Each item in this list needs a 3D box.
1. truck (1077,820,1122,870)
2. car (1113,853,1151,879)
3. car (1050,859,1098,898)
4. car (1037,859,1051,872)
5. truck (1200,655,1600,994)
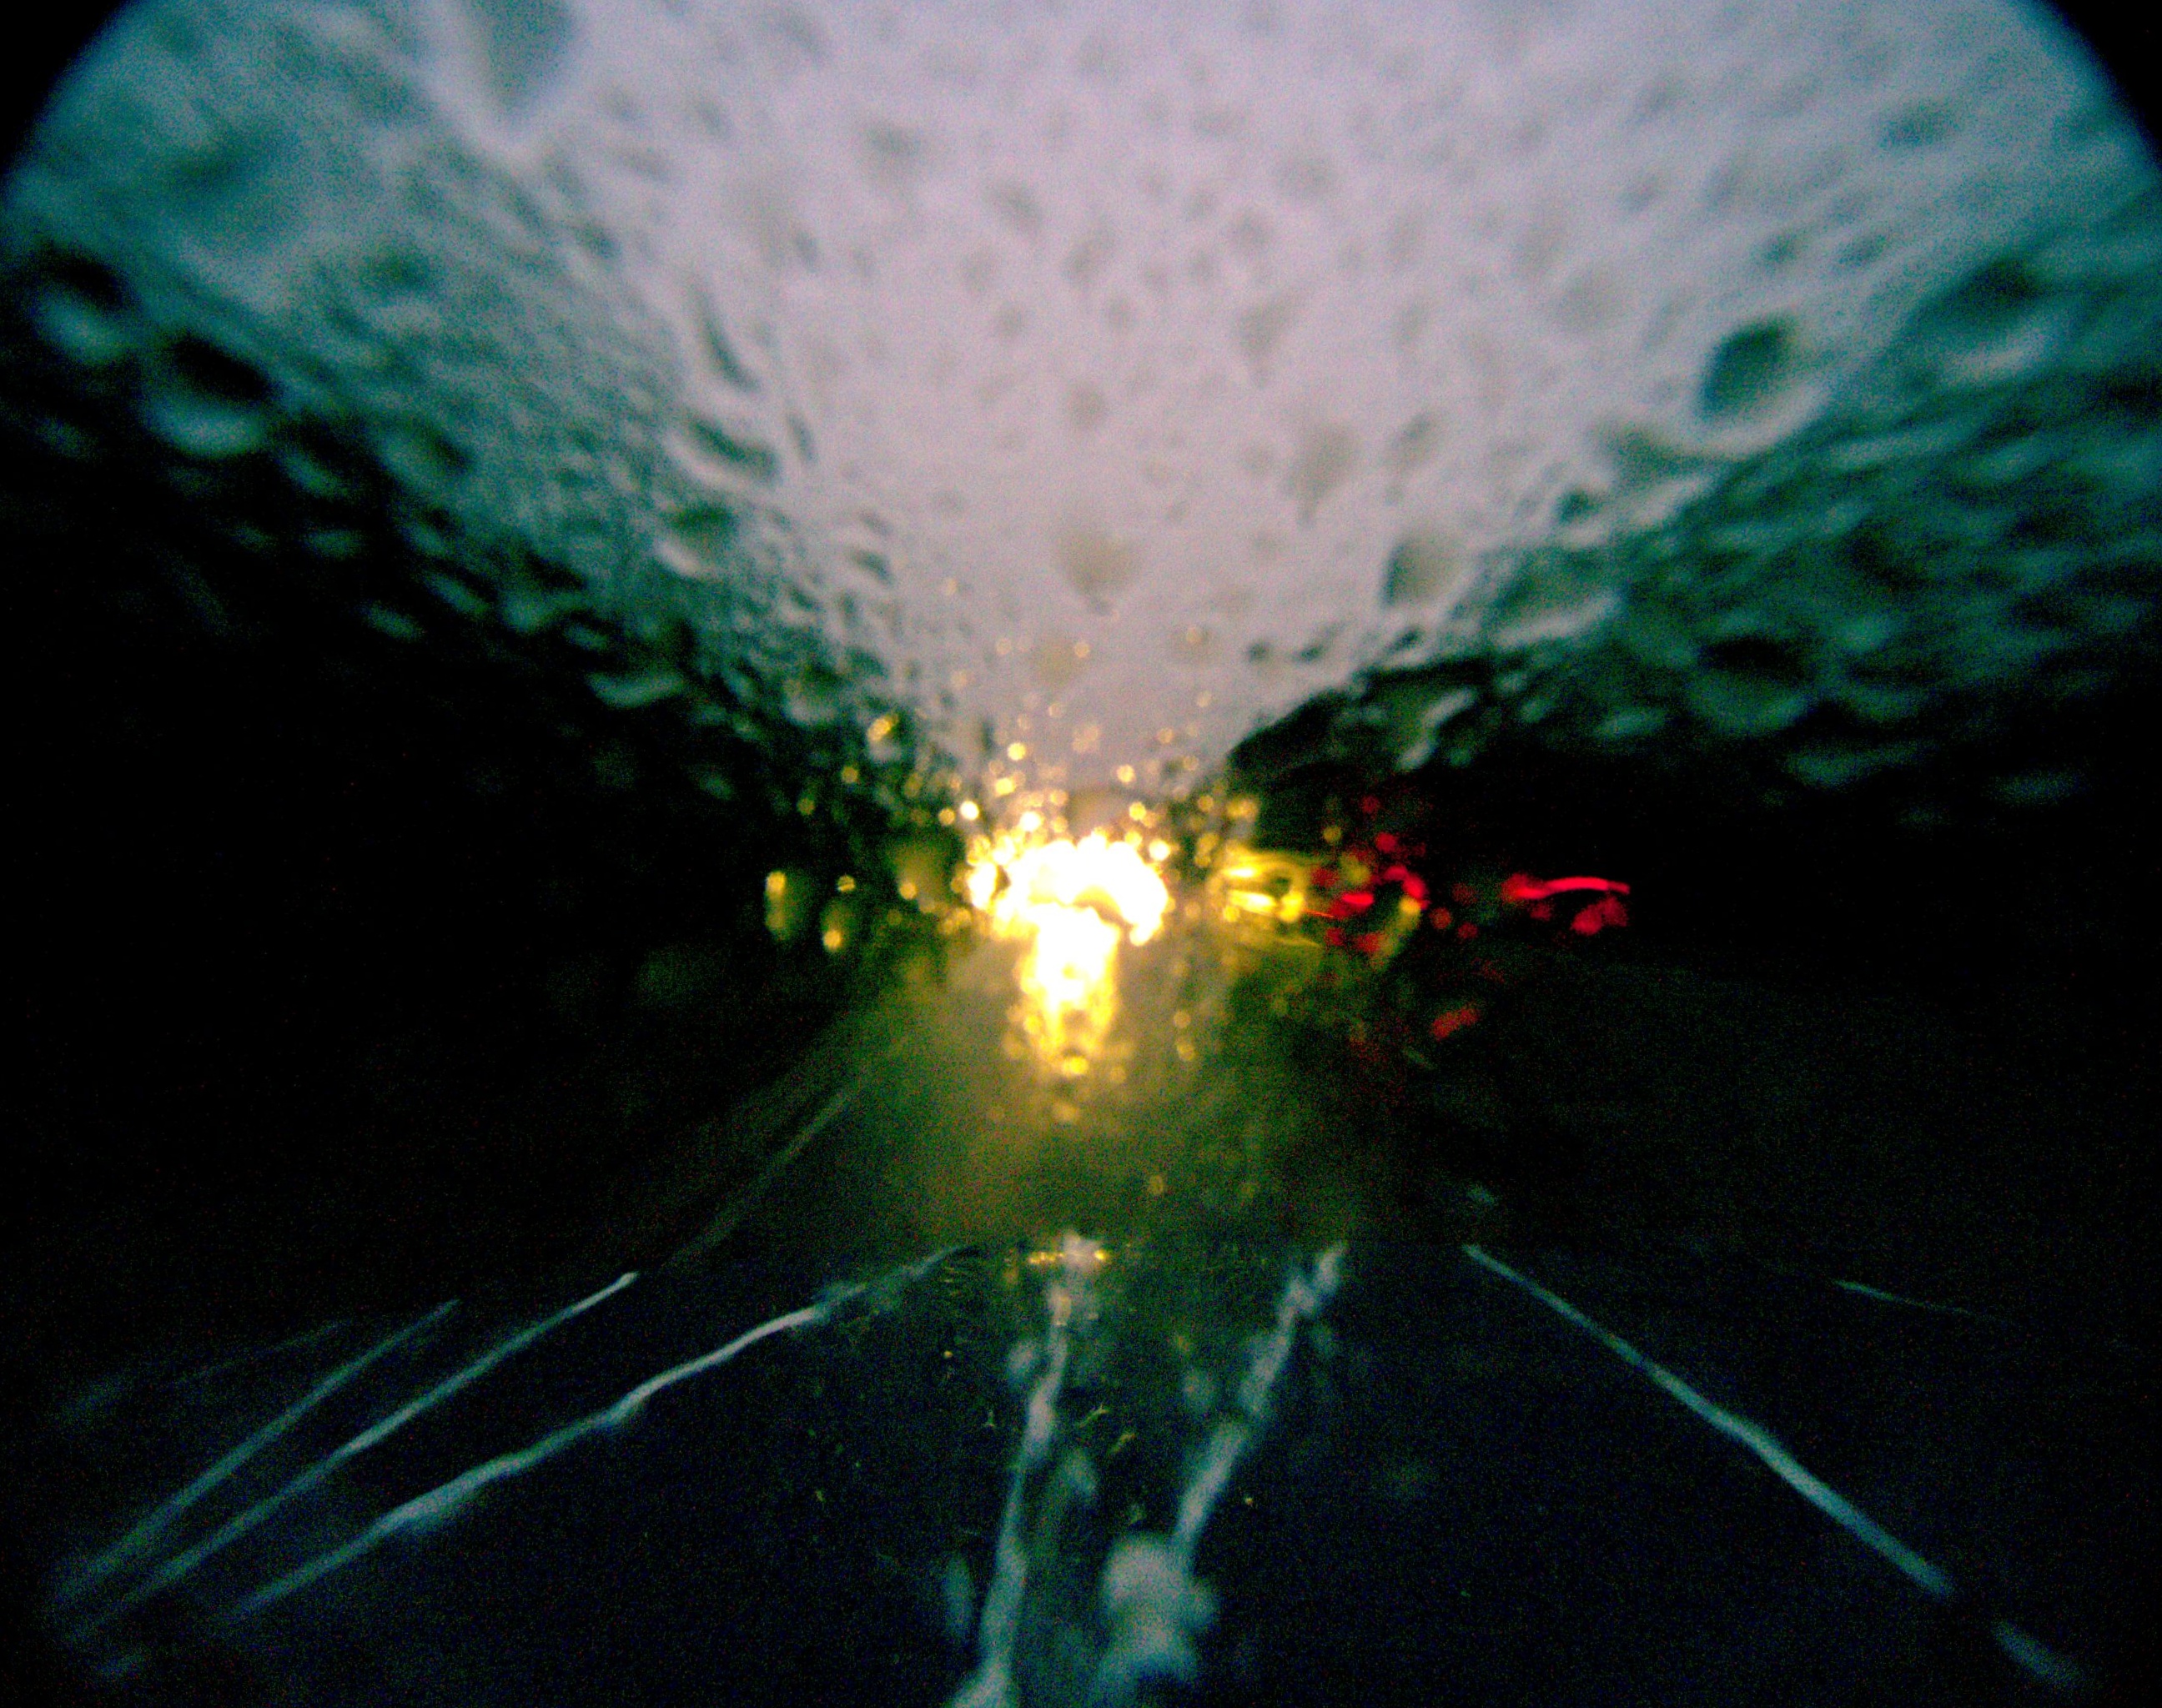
[{"bbox_3d":[1.647,-0.811,75.080,3.356,4.401,11.164,-4,0,-3],"label":"truck"},{"bbox_3d":[3.181,0.734,48.504,1.851,1.452,4.243,-3,0,-3],"label":"car"},{"bbox_3d":[-0.351,0.996,32.587,1.850,1.429,4.244,-3,0,-2],"label":"car"},{"bbox_3d":[-5.193,1.594,106.883,1.701,1.721,4.000,-4,0,0],"label":"car"},{"bbox_3d":[4.226,-0.368,13.120,2.655,3.575,9.840,-2,1,0],"label":"truck"}]
